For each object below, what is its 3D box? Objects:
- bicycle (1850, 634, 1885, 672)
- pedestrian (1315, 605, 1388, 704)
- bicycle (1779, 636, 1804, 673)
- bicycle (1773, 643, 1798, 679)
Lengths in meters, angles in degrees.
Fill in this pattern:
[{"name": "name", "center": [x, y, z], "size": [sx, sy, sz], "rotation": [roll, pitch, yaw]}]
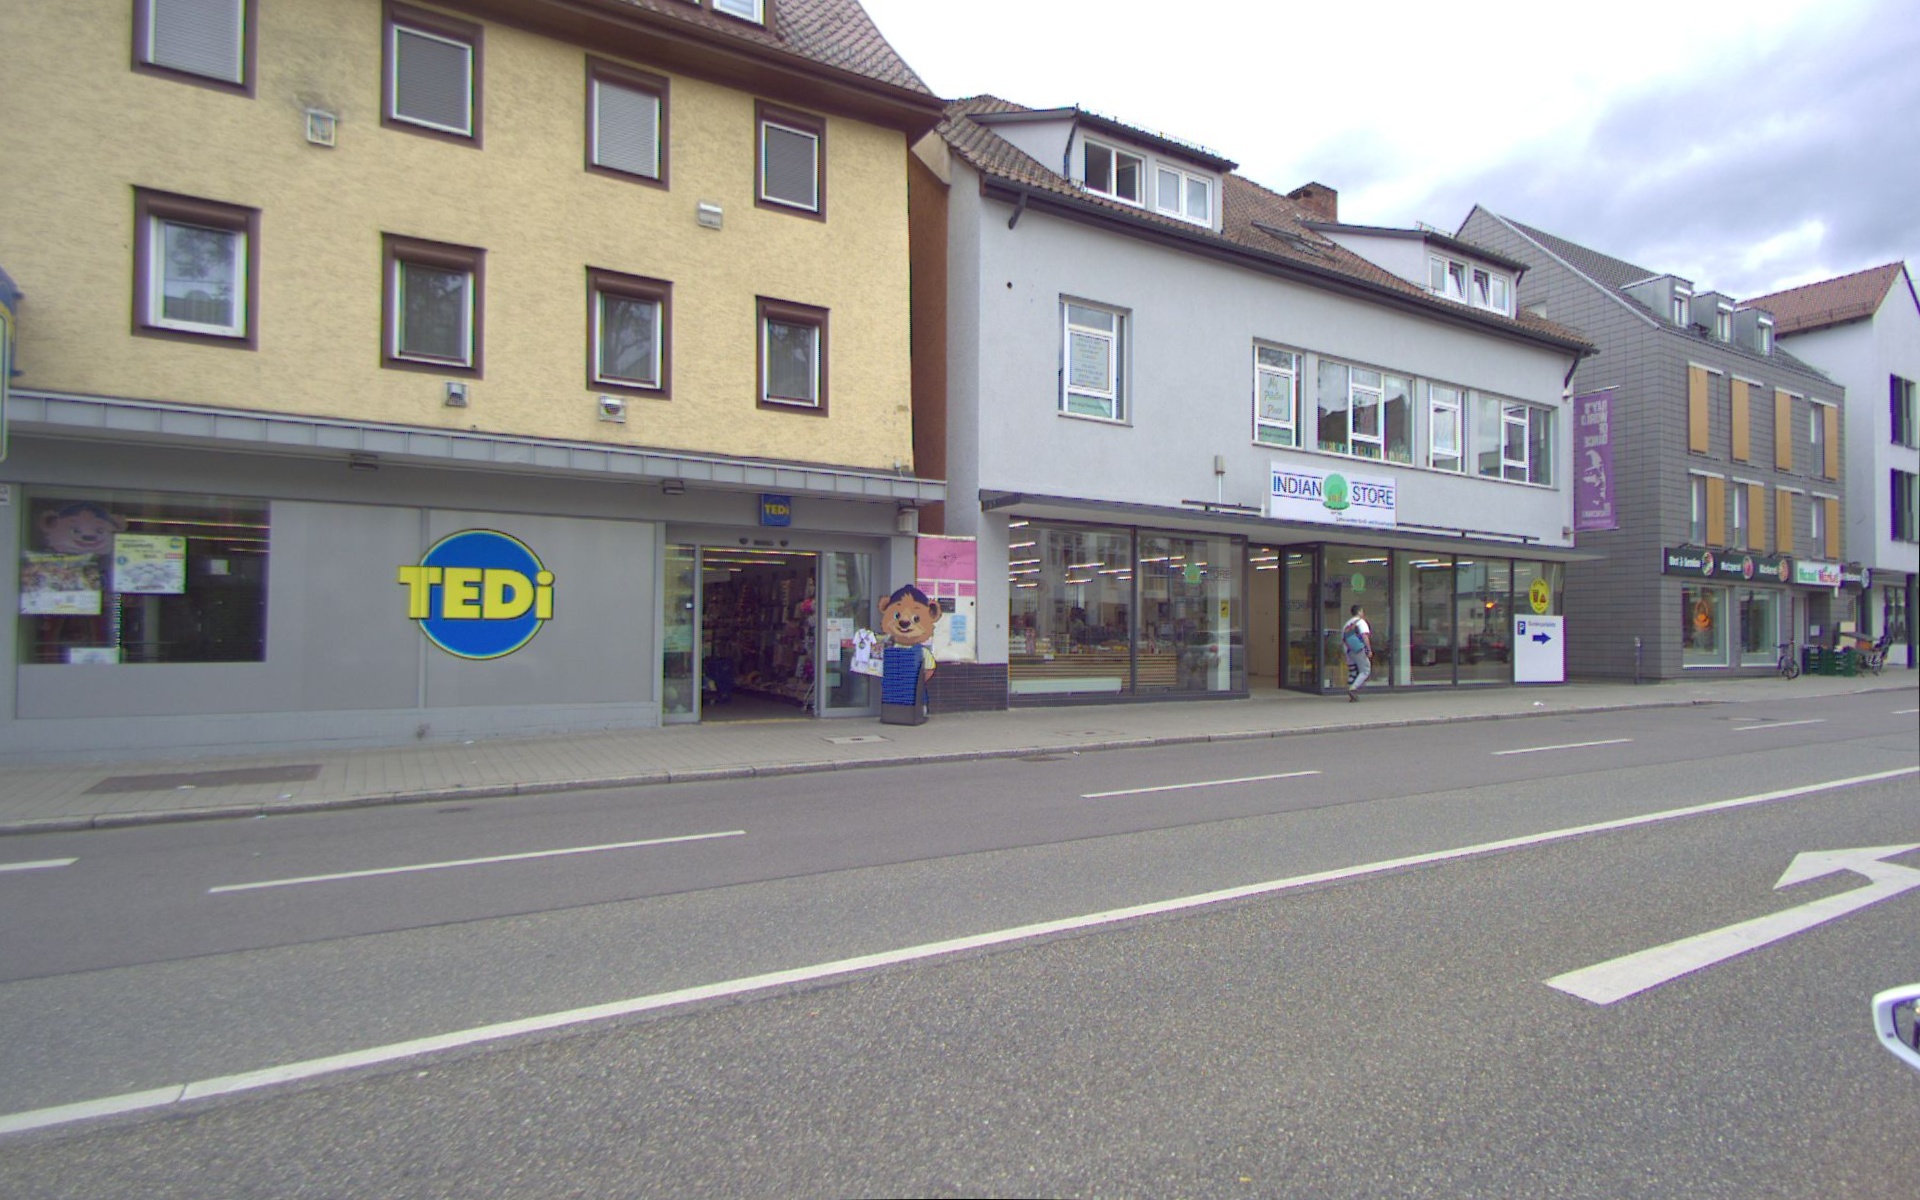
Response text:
[{"name": "bicycle", "center": [28.965, 1.683, 32.060], "size": [1.806, 1.202, 0.384], "rotation": [1, -1, -33]}, {"name": "pedestrian", "center": [7.161, 0.984, 18.375], "size": [0.969, 1.728, 0.750], "rotation": [1, 2, -30]}, {"name": "bicycle", "center": [26.076, 1.695, 31.498], "size": [1.279, 1.142, 0.383], "rotation": [1, -2, -40]}, {"name": "bicycle", "center": [23.286, 1.701, 28.332], "size": [1.472, 0.966, 0.323], "rotation": [1, -2, -41]}]
